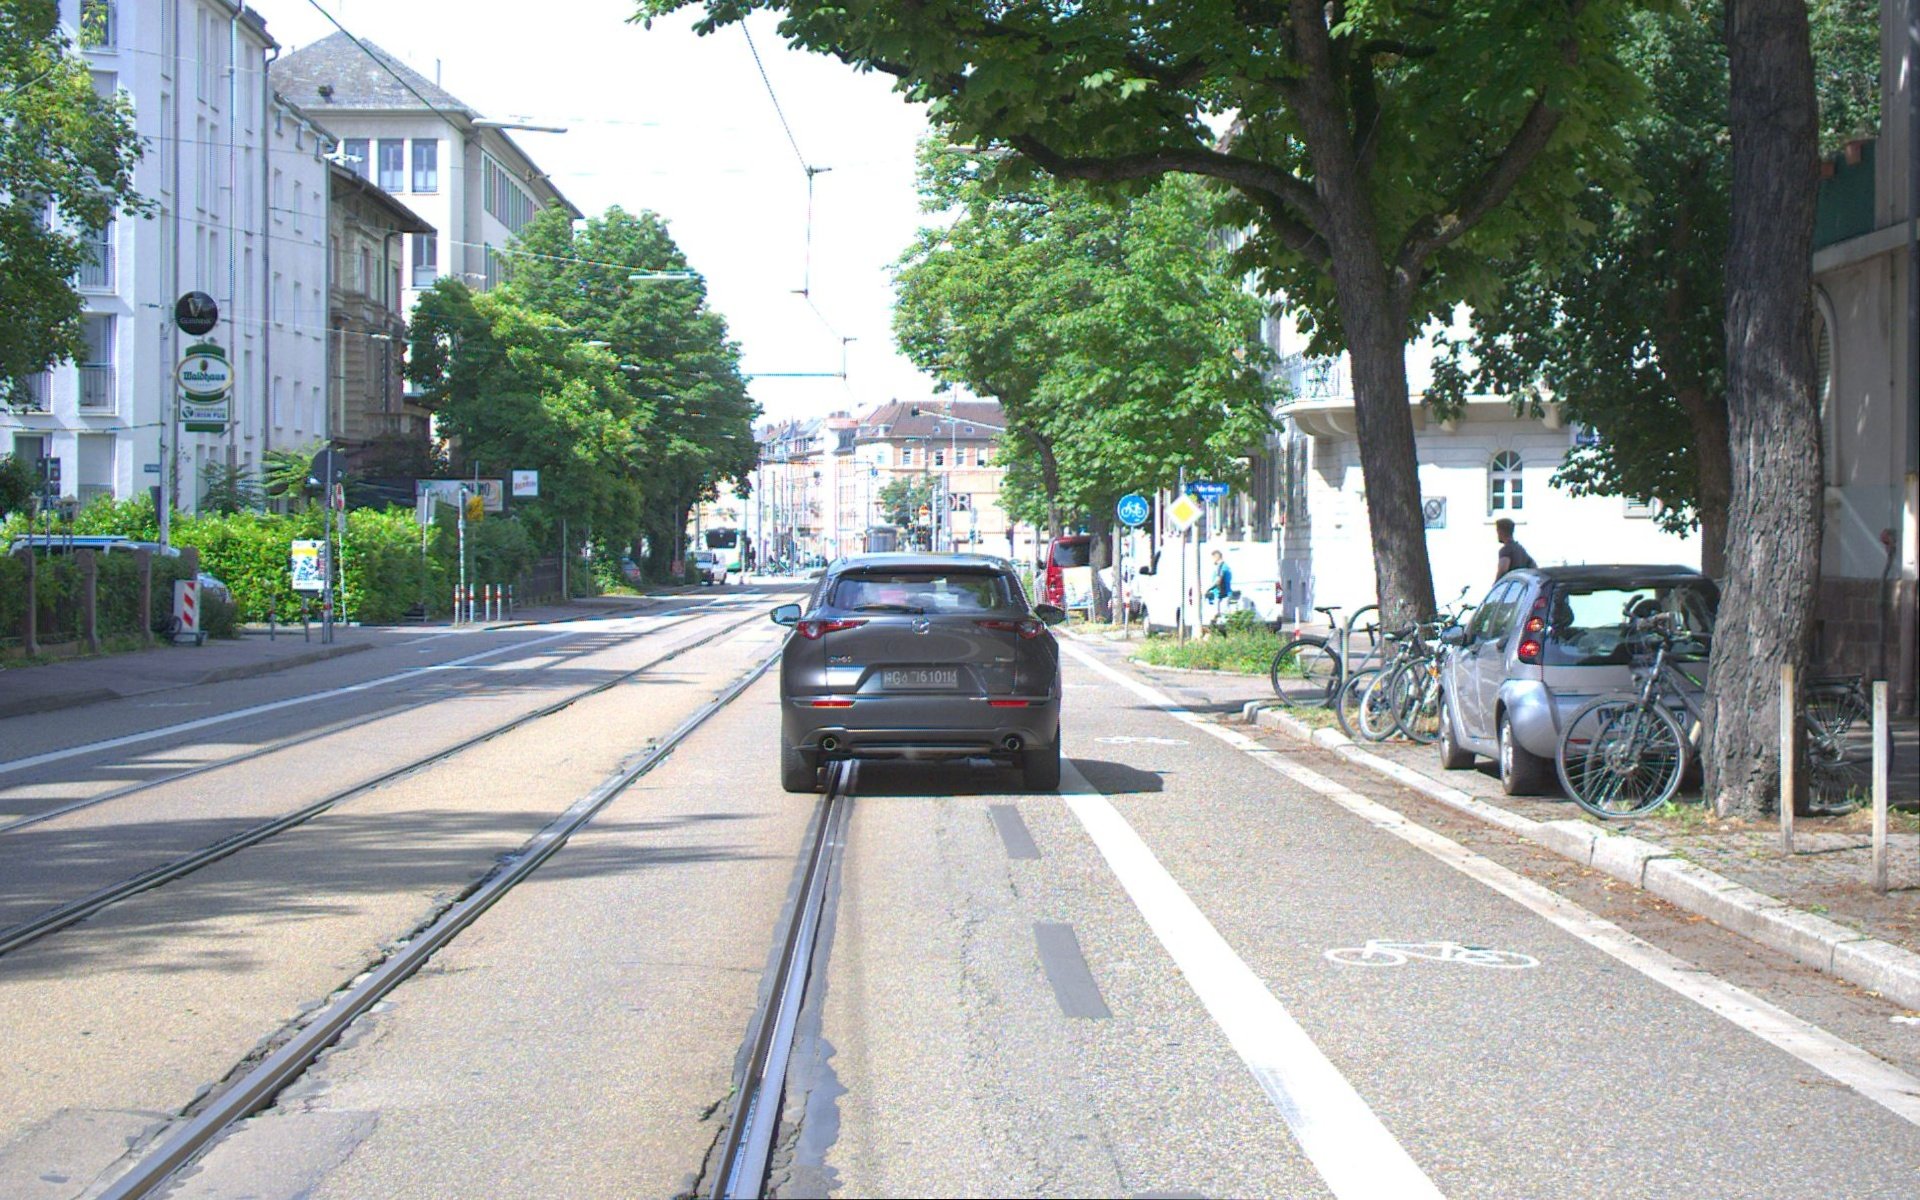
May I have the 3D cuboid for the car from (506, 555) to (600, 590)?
[{"bbox_3d":[-16.666,-1.129,140.945,3.746,1.283,1.611,3,0,-5],"label":"car"}]

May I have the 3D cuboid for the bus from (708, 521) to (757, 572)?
[{"bbox_3d":[-15.998,-3.729,241.145,2.688,3.409,11.020,2,0,-7],"label":"bus"}]

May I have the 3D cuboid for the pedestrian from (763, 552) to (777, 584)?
[{"bbox_3d":[-12.135,-2.036,219.686,0.884,2.007,0.618,0,0,-5],"label":"pedestrian"}]

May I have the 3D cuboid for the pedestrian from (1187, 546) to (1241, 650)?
[{"bbox_3d":[4.563,-0.044,61.704,0.815,1.829,0.962,1,1,-4],"label":"pedestrian"}]

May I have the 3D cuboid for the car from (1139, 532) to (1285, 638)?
[{"bbox_3d":[4.716,-0.313,64.934,1.786,1.932,4.992,0,1,-7],"label":"car"}]

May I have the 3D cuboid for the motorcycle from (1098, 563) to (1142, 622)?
[{"bbox_3d":[3.485,-0.172,75.056,0.794,1.267,2.422,0,1,-1],"label":"motorcycle"}]

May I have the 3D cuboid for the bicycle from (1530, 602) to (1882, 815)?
[{"bbox_3d":[4.172,0.606,19.300,1.895,1.172,0.513,-1,0,11],"label":"bicycle"}]

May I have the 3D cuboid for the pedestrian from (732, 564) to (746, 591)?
[{"bbox_3d":[-12.550,-1.297,195.276,0.751,1.505,0.824,0,1,-5],"label":"pedestrian"}]

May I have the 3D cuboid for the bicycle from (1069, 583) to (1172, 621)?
[{"bbox_3d":[3.645,0.043,78.092,2.275,0.858,0.672,0,1,-2],"label":"bicycle"}]

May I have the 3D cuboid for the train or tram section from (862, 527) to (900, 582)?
[{"bbox_3d":[-5.561,-3.233,243.947,2.571,3.760,13.026,0,1,-1],"label":"train or tram section"}]

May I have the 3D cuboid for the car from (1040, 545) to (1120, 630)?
[{"bbox_3d":[2.828,-0.310,81.869,1.720,1.962,4.207,0,1,0],"label":"car"}]

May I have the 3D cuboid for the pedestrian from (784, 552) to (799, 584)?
[{"bbox_3d":[-10.771,-2.055,219.767,0.884,2.007,0.618,0,0,-5],"label":"pedestrian"}]

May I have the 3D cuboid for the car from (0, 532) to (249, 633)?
[{"bbox_3d":[-17.252,-0.373,70.953,4.667,2.007,2.044,1,1,21],"label":"car"}]

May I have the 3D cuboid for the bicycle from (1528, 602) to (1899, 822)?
[{"bbox_3d":[4.093,0.607,18.755,1.938,1.172,0.513,-1,0,11],"label":"bicycle"}]

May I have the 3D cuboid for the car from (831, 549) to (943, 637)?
[{"bbox_3d":[-1.389,-0.151,65.209,1.993,1.523,4.000,3,0,-1],"label":"car"}]

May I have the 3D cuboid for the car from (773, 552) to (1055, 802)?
[{"bbox_3d":[-0.325,0.451,22.872,1.720,1.521,3.590,0,1,-1],"label":"car"}]

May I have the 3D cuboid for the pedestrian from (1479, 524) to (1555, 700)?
[{"bbox_3d":[5.871,0.134,36.280,0.610,1.830,0.879,0,-1,-3],"label":"pedestrian"}]

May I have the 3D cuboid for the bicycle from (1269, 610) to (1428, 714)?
[{"bbox_3d":[3.706,0.589,32.810,1.491,0.980,0.259,0,0,1],"label":"bicycle"}]

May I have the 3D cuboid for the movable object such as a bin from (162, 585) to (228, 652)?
[{"bbox_3d":[-11.854,0.278,53.293,0.745,0.984,1.114,3,0,-1],"label":"movable object such as a bin"}]

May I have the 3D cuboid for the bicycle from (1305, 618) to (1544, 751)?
[{"bbox_3d":[3.824,0.697,28.368,1.903,1.068,0.402,0,0,0],"label":"bicycle"}]

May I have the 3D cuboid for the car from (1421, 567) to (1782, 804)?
[{"bbox_3d":[4.248,0.513,23.296,1.666,1.425,3.766,-2,1,-1],"label":"car"}]

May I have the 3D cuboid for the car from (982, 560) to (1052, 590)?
[{"bbox_3d":[3.430,-1.500,206.864,3.805,1.612,1.638,2,0,-19],"label":"car"}]

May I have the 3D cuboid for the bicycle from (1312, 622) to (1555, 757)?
[{"bbox_3d":[3.839,0.724,27.927,1.903,1.068,0.402,0,0,0],"label":"bicycle"}]

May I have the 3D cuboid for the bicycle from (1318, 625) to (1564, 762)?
[{"bbox_3d":[3.845,0.742,27.535,1.903,1.068,0.402,0,0,0],"label":"bicycle"}]
